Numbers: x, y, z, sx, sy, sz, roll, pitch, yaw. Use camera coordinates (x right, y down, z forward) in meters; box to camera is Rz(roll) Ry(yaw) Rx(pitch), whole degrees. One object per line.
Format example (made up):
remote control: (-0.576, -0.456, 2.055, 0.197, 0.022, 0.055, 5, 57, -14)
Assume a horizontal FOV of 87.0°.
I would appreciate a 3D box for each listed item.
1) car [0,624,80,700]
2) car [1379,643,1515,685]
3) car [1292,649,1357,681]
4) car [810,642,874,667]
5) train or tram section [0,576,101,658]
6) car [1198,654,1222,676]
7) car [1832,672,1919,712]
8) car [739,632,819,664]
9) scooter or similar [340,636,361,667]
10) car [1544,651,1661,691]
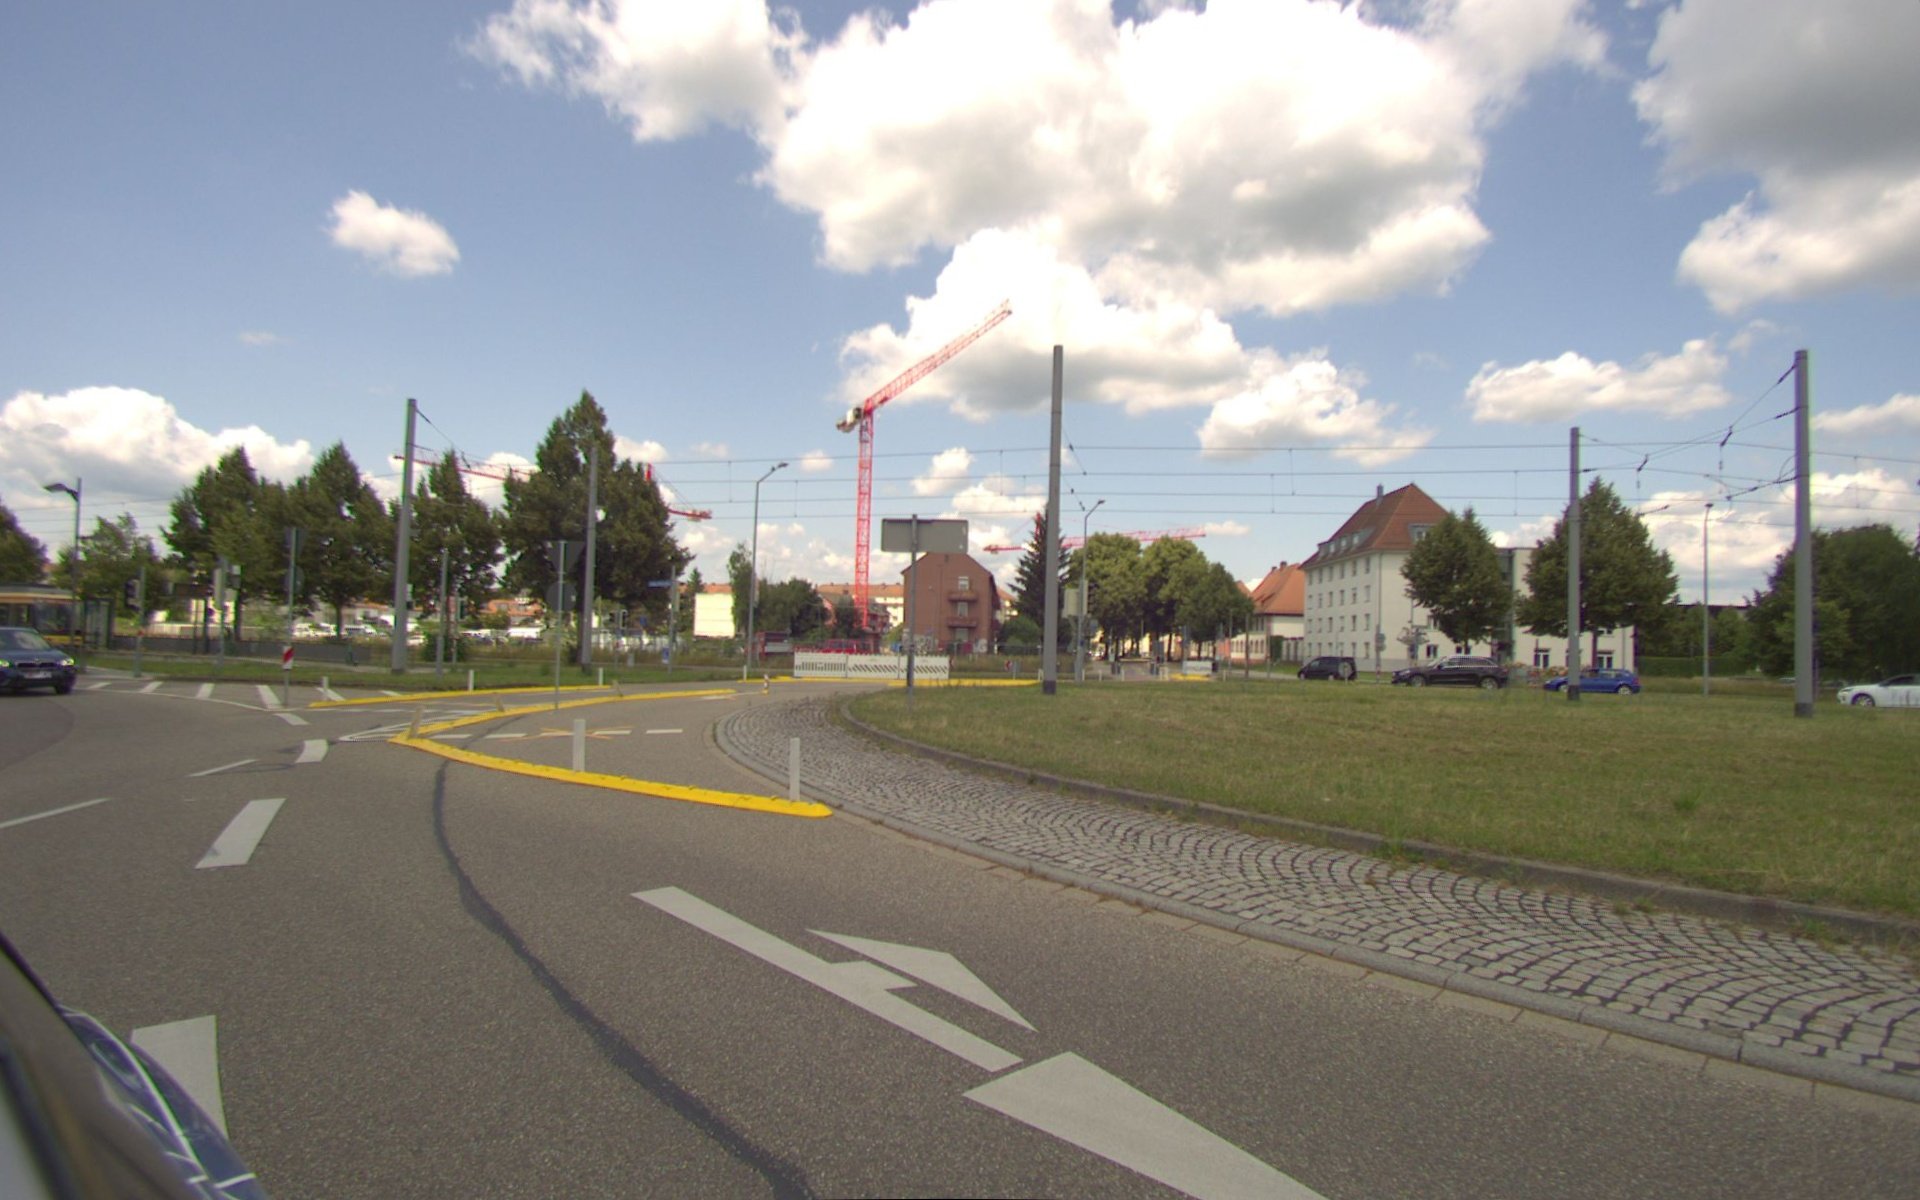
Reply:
car: (-23.396, 1.461, 24.682, 4.113, 1.611, 1.756, 1, 0, 32)
car: (21.048, 2.766, 43.977, 5.026, 1.687, 1.989, 0, -3, 17)
car: (24.584, 4.347, 68.444, 1.967, 2.029, 4.737, 2, -3, -12)
car: (-9.319, 4.276, 79.768, 5.183, 1.866, 2.059, -1, -4, 42)
train or tram section: (-48.378, 0.843, 50.298, 13.387, 3.768, 2.830, 0, -3, 23)
car: (24.565, 6.337, 99.434, 1.984, 2.029, 4.697, 0, -3, 18)
car: (35.035, 3.387, 37.130, 1.968, 1.339, 4.319, 3, -3, -39)
car: (-13.345, 3.519, 74.115, 2.359, 2.214, 6.844, 4, -4, -43)
scooter or similar: (-27.303, 2.314, 45.330, 1.346, 1.312, 0.413, 2, -1, 43)
car: (31.491, 3.445, 49.775, 4.704, 1.805, 1.831, -1, -3, 28)
